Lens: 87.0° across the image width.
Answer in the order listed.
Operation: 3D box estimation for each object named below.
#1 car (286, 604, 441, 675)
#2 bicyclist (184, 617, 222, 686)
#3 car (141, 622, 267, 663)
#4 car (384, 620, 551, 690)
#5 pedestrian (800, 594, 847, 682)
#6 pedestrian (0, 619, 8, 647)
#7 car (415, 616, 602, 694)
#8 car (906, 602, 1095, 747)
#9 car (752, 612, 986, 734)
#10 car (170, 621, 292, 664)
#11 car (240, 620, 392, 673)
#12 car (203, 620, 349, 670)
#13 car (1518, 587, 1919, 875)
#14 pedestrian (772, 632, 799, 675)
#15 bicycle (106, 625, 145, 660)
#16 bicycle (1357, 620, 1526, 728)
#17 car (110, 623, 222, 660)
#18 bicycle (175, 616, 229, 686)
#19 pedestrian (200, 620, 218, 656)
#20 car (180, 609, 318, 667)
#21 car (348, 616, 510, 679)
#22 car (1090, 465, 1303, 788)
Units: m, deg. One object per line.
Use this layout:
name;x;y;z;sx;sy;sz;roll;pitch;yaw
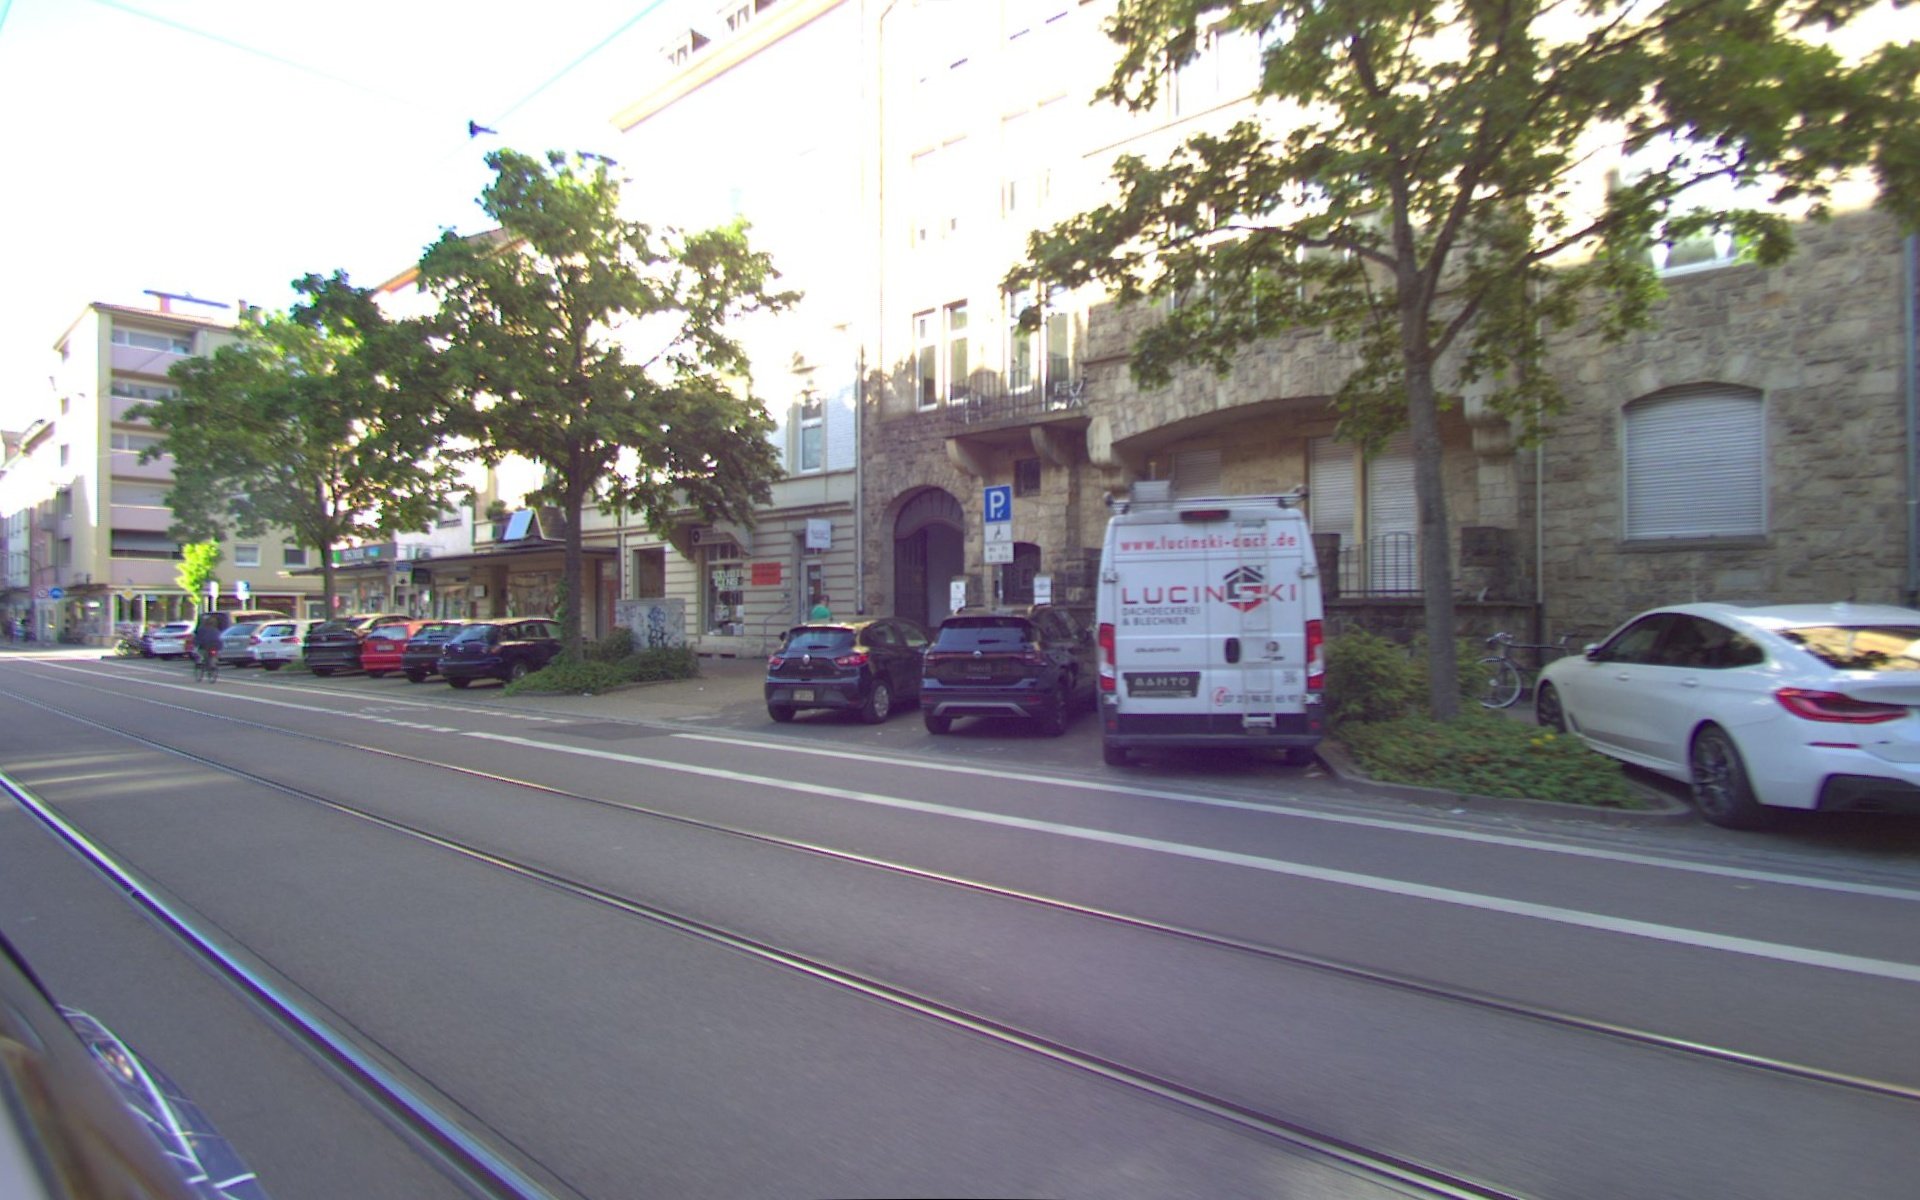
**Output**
car;-16.413;1.016;28.132;1.966;1.796;4.370;-1;0;-4
bicyclist;-19.042;1.288;25.448;0.726;1.694;0.627;-1;0;41
car;-28.988;1.596;38.947;1.734;1.410;3.783;-1;0;8
car;-11.993;1.282;24.940;1.785;1.500;3.990;-1;0;8
pedestrian;-2.765;0.762;20.524;0.761;1.739;0.572;-1;0;40
pedestrian;-59.979;2.072;63.316;0.616;1.698;0.557;-1;0;39
car;-9.947;1.154;22.651;1.788;1.500;3.984;-1;0;13
car;0.704;0.850;13.556;1.697;1.630;3.980;-1;0;15
car;-1.198;0.969;15.182;1.795;1.500;3.967;-1;0;24
car;-26.759;1.519;37.275;1.631;1.484;3.458;-1;-1;12
car;-19.801;1.388;31.296;1.749;1.440;3.826;-1;0;15
car;-22.474;1.441;33.453;1.681;1.460;4.006;-1;0;11
car;6.293;0.735;7.991;1.692;1.630;4.759;-1;0;8
pedestrian;-3.843;1.178;22.294;0.459;0.929;0.350;-1;0;40
bicycle;-33.898;1.741;41.111;2.431;1.329;0.675;-4;-2;37
bicycle;5.461;0.803;11.553;1.696;1.145;0.383;-1;0;41
car;-31.868;1.650;40.750;1.605;1.347;3.464;-1;0;7
bicycle;-19.160;1.245;25.556;2.096;1.691;0.673;-1;0;41
pedestrian;-35.155;1.764;47.370;0.641;1.665;0.563;-1;0;41
car;-24.682;1.279;35.302;1.777;1.798;3.812;-1;1;10
car;-13.980;1.210;26.936;1.846;1.500;3.990;-1;0;8
car;2.551;0.239;11.506;1.787;2.770;5.370;-1;0;11
